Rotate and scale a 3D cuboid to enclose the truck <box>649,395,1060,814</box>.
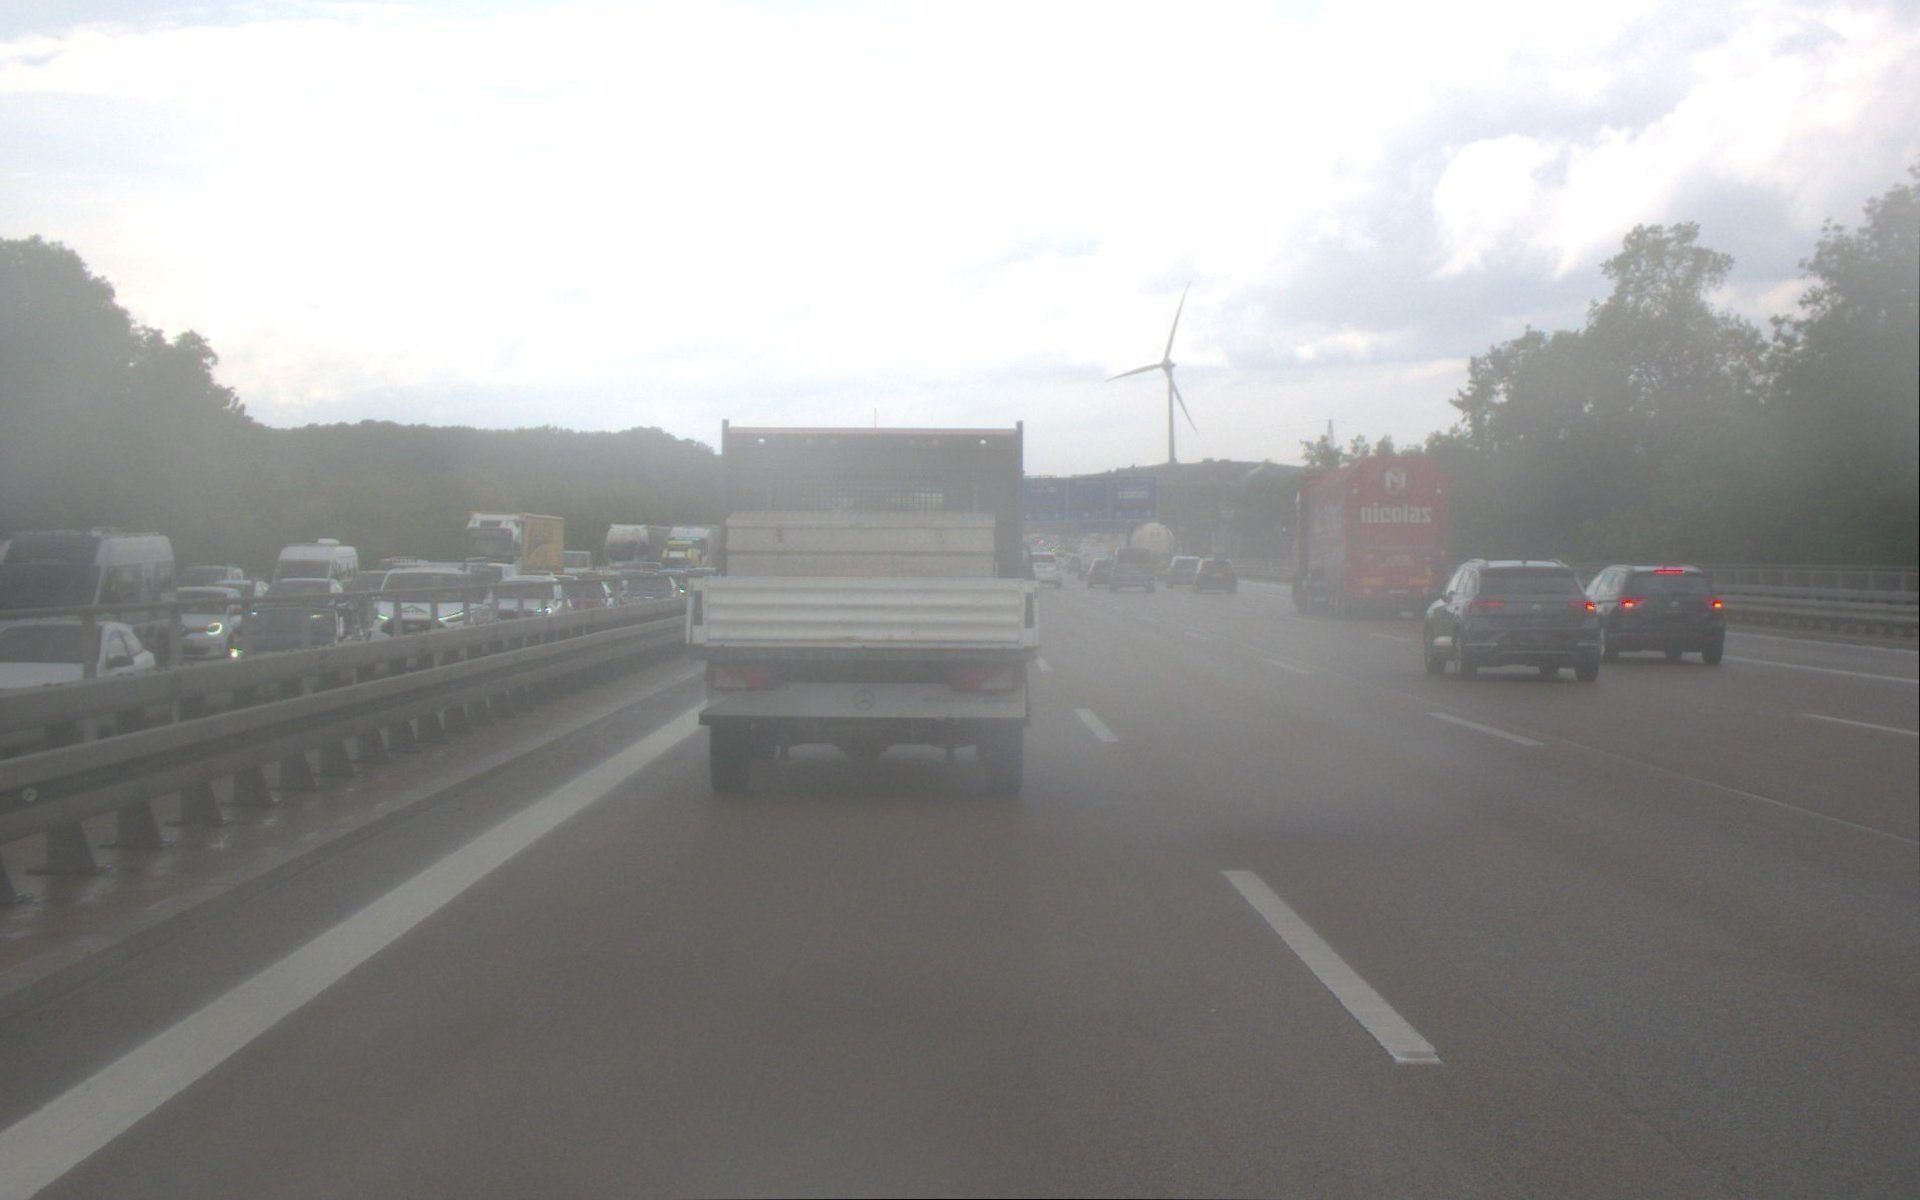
[{"bbox_3d":[-0.659,-0.027,23.671,2.353,2.400,7.358,1,1,-1],"label":"truck"}]

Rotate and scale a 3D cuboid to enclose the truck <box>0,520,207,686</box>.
[{"bbox_3d":[-14.723,-0.009,58.382,2.146,2.594,8.757,0,1,-1],"label":"truck"}]

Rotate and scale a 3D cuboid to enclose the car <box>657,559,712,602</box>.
[{"bbox_3d":[-10.925,-0.788,136.467,1.867,1.664,5.174,0,1,-1],"label":"car"}]

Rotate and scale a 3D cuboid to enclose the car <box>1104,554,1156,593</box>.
[{"bbox_3d":[7.566,-1.207,153.296,2.097,1.693,4.000,0,1,-1],"label":"car"}]

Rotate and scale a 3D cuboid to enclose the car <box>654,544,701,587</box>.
[{"bbox_3d":[-16.831,-2.054,205.240,2.156,2.496,6.772,-1,1,1],"label":"car"}]

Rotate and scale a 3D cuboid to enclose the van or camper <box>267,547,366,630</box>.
[{"bbox_3d":[-22.119,-0.451,118.444,2.201,2.756,7.232,0,1,-1],"label":"van or camper"}]

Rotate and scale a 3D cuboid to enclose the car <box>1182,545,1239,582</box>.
[{"bbox_3d":[11.078,-1.621,152.205,2.105,1.600,5.066,0,1,-1],"label":"car"}]

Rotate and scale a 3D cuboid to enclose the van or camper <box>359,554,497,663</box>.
[{"bbox_3d":[-10.491,0.119,68.144,1.983,2.061,5.643,0,1,-1],"label":"van or camper"}]

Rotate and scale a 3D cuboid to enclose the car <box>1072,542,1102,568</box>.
[{"bbox_3d":[8.652,-3.077,234.602,1.993,1.733,4.000,1,1,2],"label":"car"}]

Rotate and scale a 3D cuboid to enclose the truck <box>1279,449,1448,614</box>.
[{"bbox_3d":[10.556,-1.786,91.529,3.152,3.990,15.636,0,1,2],"label":"truck"}]

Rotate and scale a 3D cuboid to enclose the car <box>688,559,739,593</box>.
[{"bbox_3d":[-10.804,-1.069,150.832,1.994,1.458,4.842,0,1,-1],"label":"car"}]

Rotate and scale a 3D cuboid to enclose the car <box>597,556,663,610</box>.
[{"bbox_3d":[-11.427,-0.611,119.419,1.865,1.820,5.709,0,1,-1],"label":"car"}]

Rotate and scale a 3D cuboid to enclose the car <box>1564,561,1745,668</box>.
[{"bbox_3d":[10.521,0.188,52.363,1.815,1.538,4.358,0,1,-1],"label":"car"}]

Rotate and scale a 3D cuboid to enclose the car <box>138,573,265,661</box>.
[{"bbox_3d":[-14.786,0.314,67.165,1.676,1.630,4.000,0,1,-1],"label":"car"}]

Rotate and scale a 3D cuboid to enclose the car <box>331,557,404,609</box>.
[{"bbox_3d":[-18.530,-0.549,107.719,1.676,1.574,4.000,0,1,-1],"label":"car"}]

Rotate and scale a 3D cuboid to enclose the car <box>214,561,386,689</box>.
[{"bbox_3d":[-10.517,0.359,55.118,1.948,1.942,4.725,0,1,-1],"label":"car"}]

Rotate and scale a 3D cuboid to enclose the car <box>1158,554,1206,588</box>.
[{"bbox_3d":[11.274,-1.468,174.592,2.045,1.693,5.007,0,1,-1],"label":"car"}]

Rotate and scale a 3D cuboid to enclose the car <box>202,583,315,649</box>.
[{"bbox_3d":[-15.960,0.337,78.414,1.676,1.404,5.016,0,1,-1],"label":"car"}]

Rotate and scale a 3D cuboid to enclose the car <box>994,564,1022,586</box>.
[{"bbox_3d":[3.229,-1.714,232.235,1.812,1.441,4.000,0,1,0],"label":"car"}]

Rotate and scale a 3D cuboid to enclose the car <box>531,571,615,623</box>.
[{"bbox_3d":[-10.898,-0.097,97.074,1.873,1.387,5.365,0,1,-1],"label":"car"}]

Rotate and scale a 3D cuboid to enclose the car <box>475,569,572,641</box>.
[{"bbox_3d":[-10.656,0.103,84.232,1.825,1.669,5.358,0,1,-1],"label":"car"}]

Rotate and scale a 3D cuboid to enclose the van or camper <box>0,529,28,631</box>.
[{"bbox_3d":[-22.901,-0.439,77.784,2.046,2.322,5.935,0,1,-1],"label":"van or camper"}]

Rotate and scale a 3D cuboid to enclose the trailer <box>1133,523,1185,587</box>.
[{"bbox_3d":[13.392,-3.046,232.150,3.333,4.161,11.837,1,1,3],"label":"trailer"}]

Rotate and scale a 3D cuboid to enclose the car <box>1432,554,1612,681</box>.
[{"bbox_3d":[7.230,0.210,44.556,1.792,1.557,3.721,1,0,1],"label":"car"}]

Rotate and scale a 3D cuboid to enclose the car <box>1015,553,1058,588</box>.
[{"bbox_3d":[3.770,-1.472,168.932,1.972,1.693,4.000,0,1,-1],"label":"car"}]

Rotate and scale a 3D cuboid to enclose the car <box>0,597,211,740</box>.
[{"bbox_3d":[-10.432,0.748,40.556,1.831,1.470,5.924,0,1,1],"label":"car"}]

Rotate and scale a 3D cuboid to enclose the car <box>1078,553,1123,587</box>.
[{"bbox_3d":[7.084,-1.516,174.075,2.045,1.693,4.000,0,1,-1],"label":"car"}]
